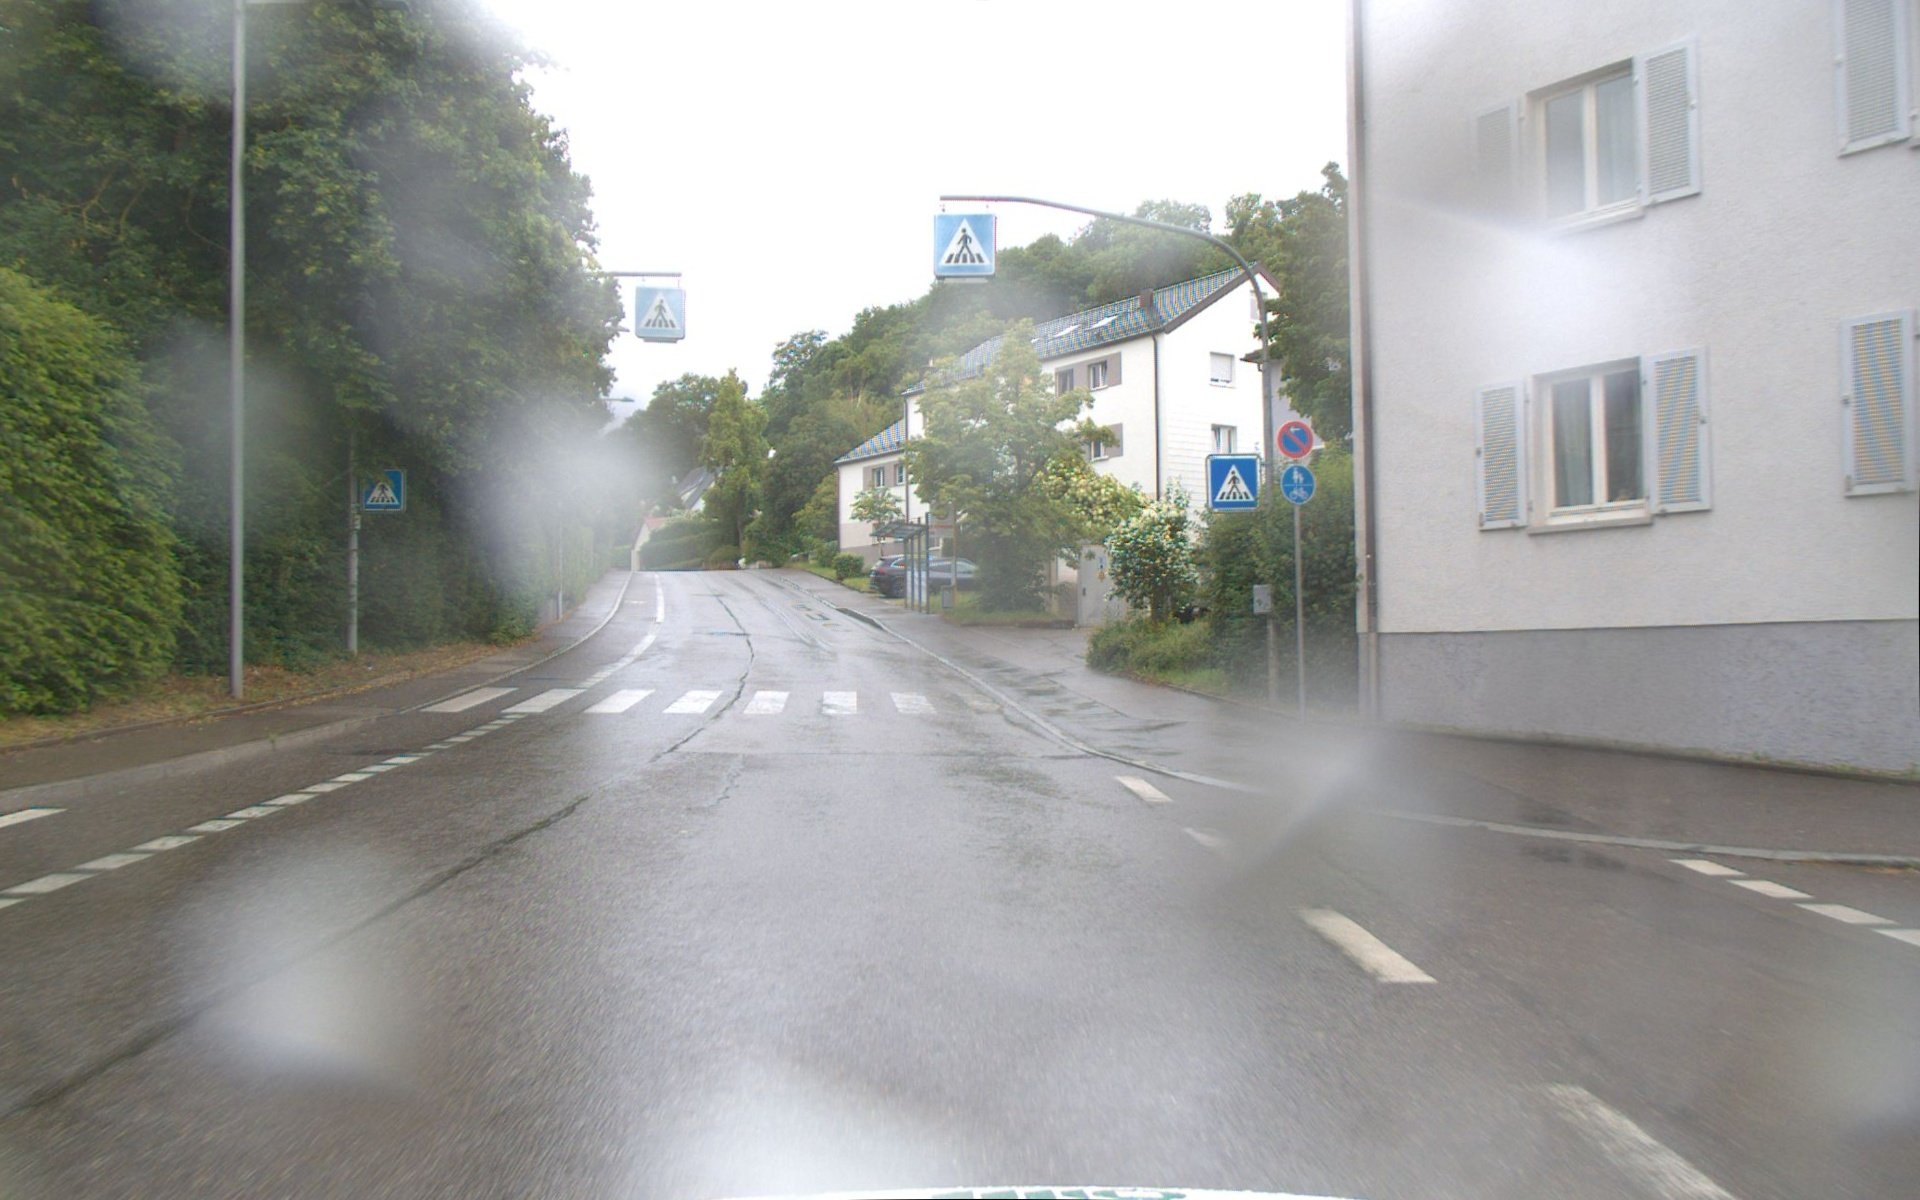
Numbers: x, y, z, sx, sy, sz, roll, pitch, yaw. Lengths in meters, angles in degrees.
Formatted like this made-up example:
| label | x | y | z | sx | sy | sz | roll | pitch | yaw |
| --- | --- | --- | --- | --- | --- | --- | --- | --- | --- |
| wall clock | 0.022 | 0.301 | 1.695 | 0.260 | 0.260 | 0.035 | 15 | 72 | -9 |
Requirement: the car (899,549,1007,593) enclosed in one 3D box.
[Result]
| label | x | y | z | sx | sy | sz | roll | pitch | yaw |
| --- | --- | --- | --- | --- | --- | --- | --- | --- | --- |
| car | -0.278 | -1.068 | 60.074 | 3.677 | 1.483 | 1.720 | -1 | 3 | -12 |

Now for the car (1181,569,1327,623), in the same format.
| label | x | y | z | sx | sy | sz | roll | pitch | yaw |
| --- | --- | --- | --- | --- | --- | --- | --- | --- | --- |
| car | 8.217 | -0.090 | 46.320 | 3.633 | 1.456 | 1.792 | 0 | -1 | -10 |

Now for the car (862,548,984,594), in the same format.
| label | x | y | z | sx | sy | sz | roll | pitch | yaw |
| --- | --- | --- | --- | --- | --- | --- | --- | --- | --- |
| car | -1.460 | -1.156 | 65.095 | 4.454 | 1.689 | 1.848 | -1 | 3 | -17 |
